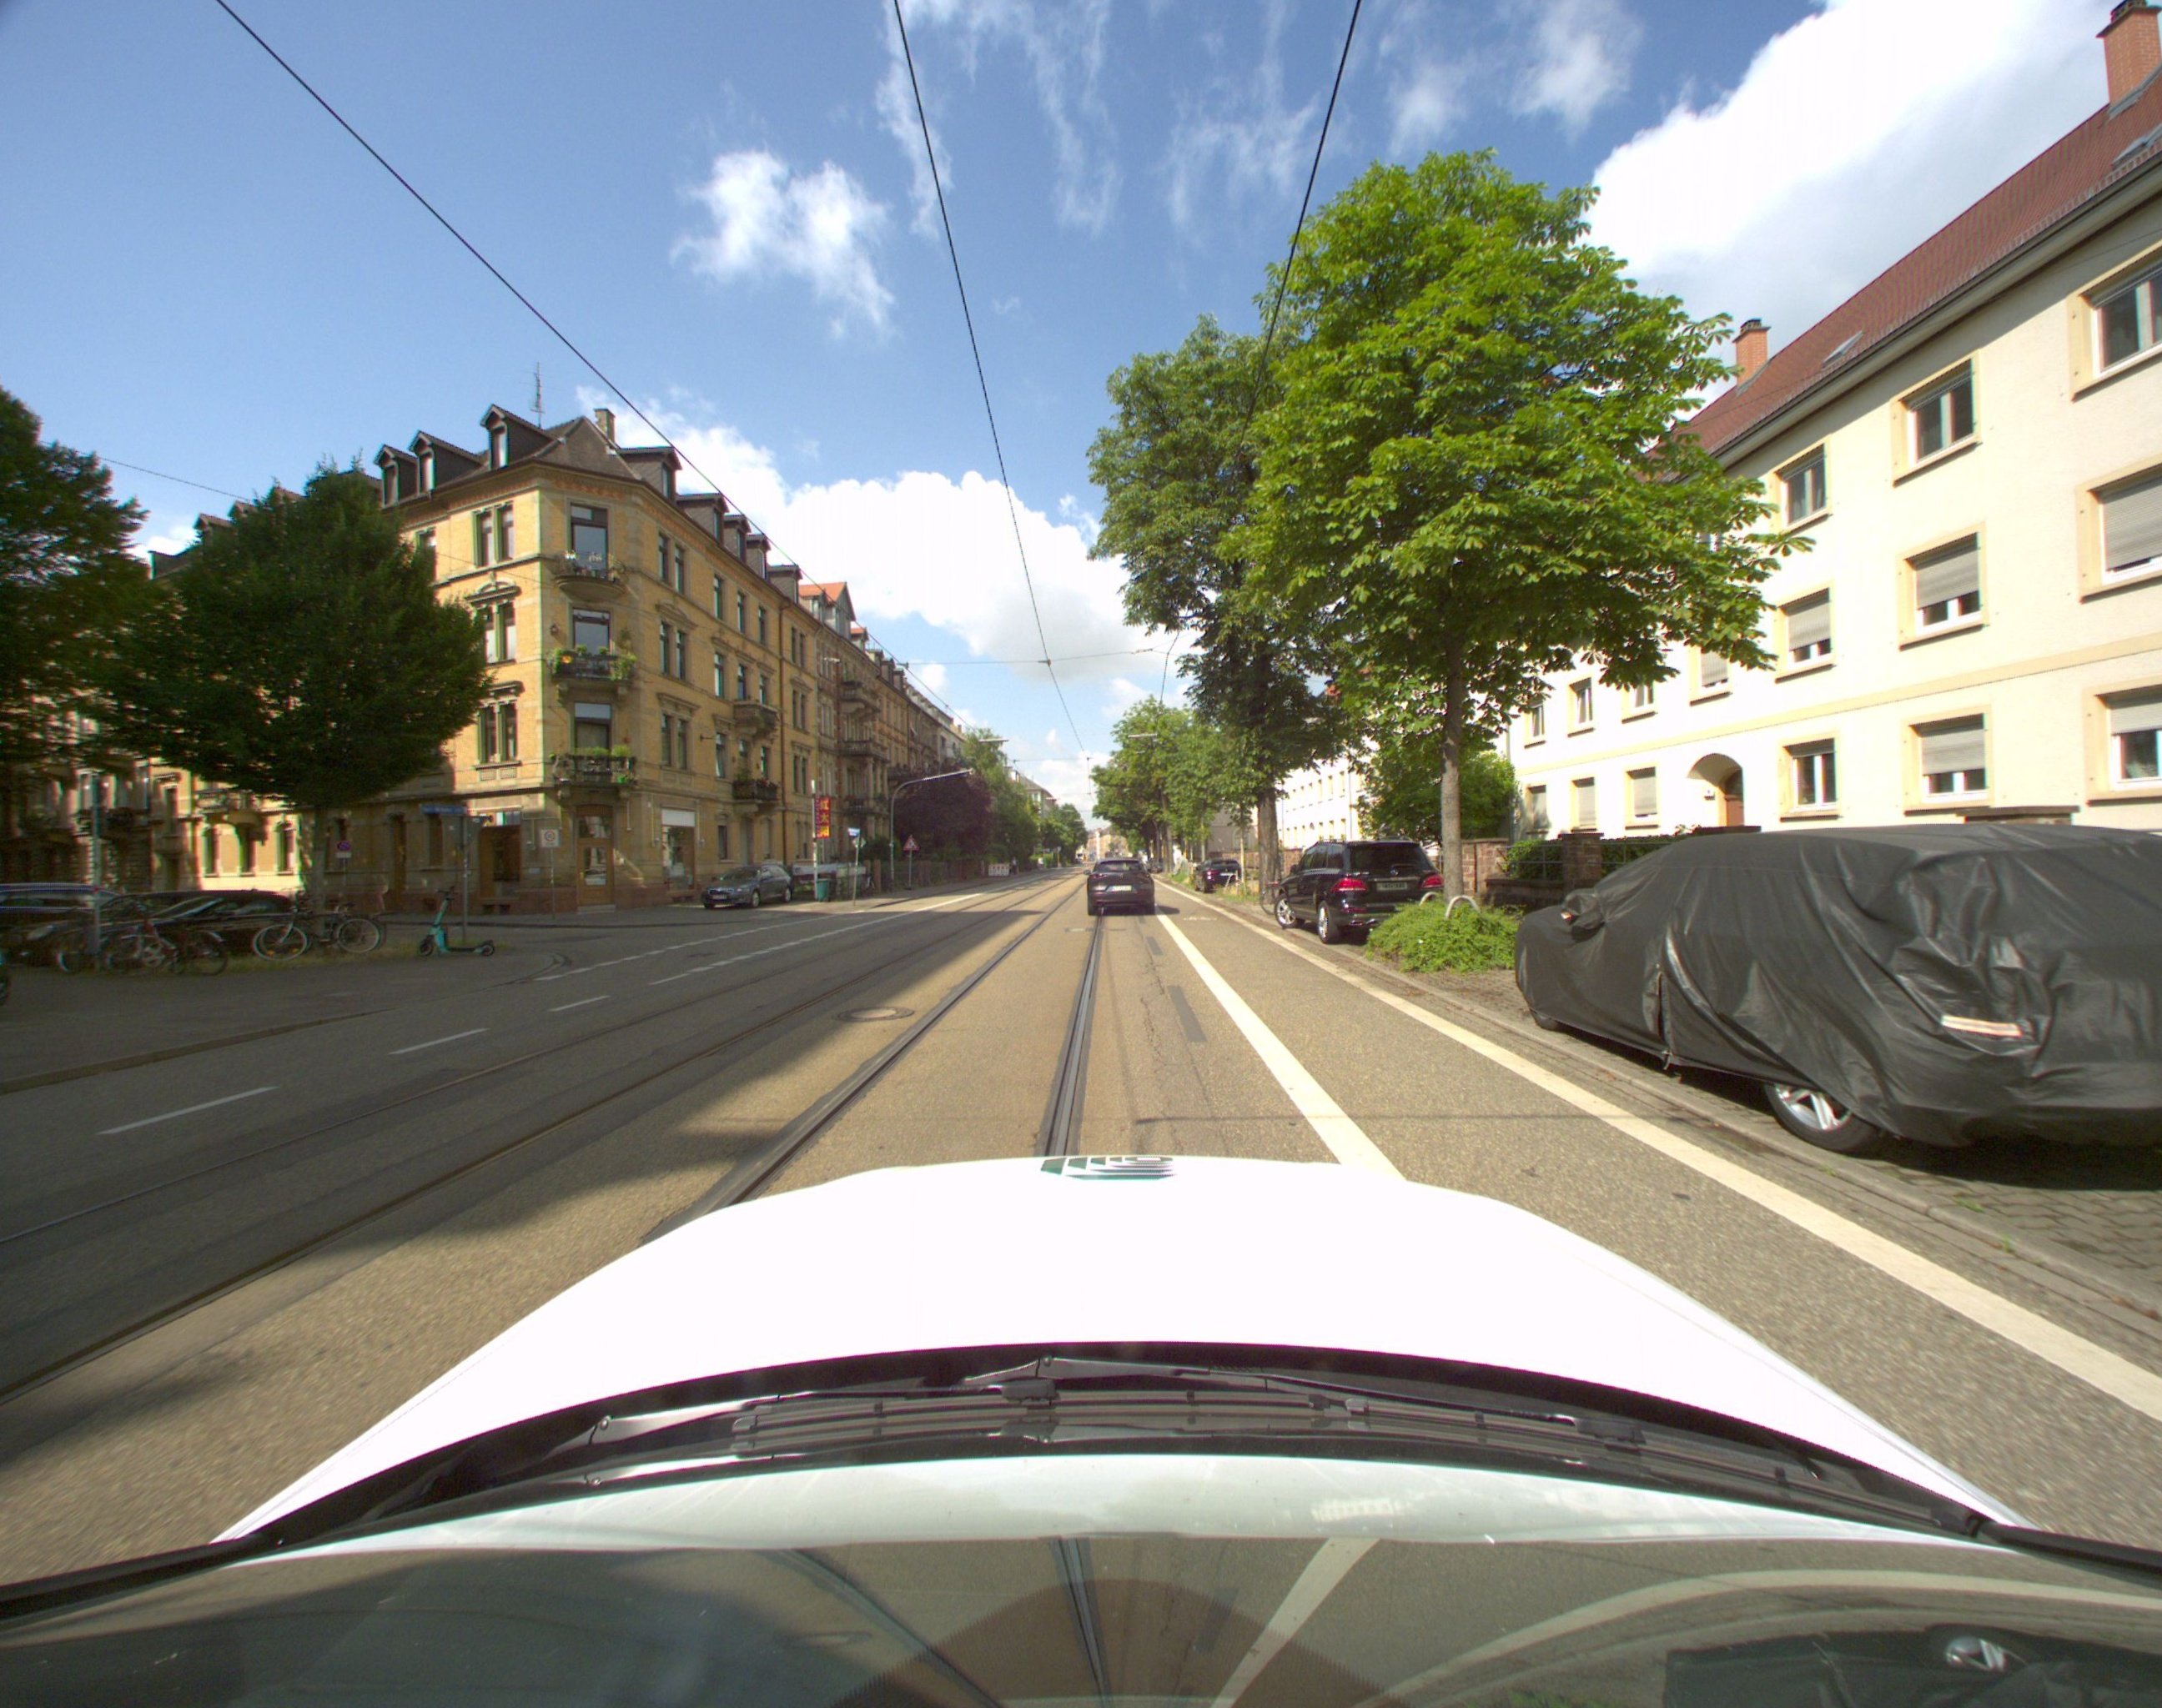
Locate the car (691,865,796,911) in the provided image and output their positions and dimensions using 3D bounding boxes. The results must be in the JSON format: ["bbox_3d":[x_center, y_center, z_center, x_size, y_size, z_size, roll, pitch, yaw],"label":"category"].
[{"bbox_3d":[-12.313,1.180,30.048,1.679,1.459,4.767,-2,0,2],"label":"car"}]

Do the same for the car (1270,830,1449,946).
[{"bbox_3d":[4.944,0.535,15.235,1.820,1.782,4.735,-2,0,2],"label":"car"}]

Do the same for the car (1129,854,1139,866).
[{"bbox_3d":[9.739,1.097,148.988,1.713,1.968,4.210,-2,0,3],"label":"car"}]

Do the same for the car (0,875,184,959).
[{"bbox_3d":[-23.664,1.410,18.557,1.600,1.721,4.023,-2,-1,24],"label":"car"}]

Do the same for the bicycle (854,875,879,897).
[{"bbox_3d":[-9.672,1.432,36.764,0.528,0.946,1.969,-2,0,2],"label":"bicycle"}]

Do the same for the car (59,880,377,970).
[{"bbox_3d":[-16.695,1.296,16.043,1.625,1.360,3.947,-2,0,21],"label":"car"}]

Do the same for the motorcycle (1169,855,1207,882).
[{"bbox_3d":[6.600,0.900,50.474,2.357,1.597,0.683,0,1,41],"label":"motorcycle"}]

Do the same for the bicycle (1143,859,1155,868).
[{"bbox_3d":[8.365,1.163,100.203,1.484,0.983,0.259,-2,-1,4],"label":"bicycle"}]

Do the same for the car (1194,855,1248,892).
[{"bbox_3d":[5.872,0.799,34.606,1.699,1.479,4.198,1,0,2],"label":"car"}]

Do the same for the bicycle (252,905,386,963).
[{"bbox_3d":[-13.591,1.404,14.592,0.519,0.837,1.705,-1,0,15],"label":"bicycle"}]

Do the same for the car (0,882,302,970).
[{"bbox_3d":[-19.089,1.400,16.944,1.624,1.415,3.810,-2,0,25],"label":"car"}]

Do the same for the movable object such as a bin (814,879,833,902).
[{"bbox_3d":[-10.271,1.452,32.505,0.523,0.906,0.636,-2,-1,0],"label":"movable object such as a bin"}]

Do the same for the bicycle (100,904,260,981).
[{"bbox_3d":[-13.911,1.350,12.600,1.750,1.063,0.524,-2,0,-4],"label":"bicycle"}]

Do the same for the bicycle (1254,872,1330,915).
[{"bbox_3d":[5.224,0.974,20.233,1.701,1.007,0.638,-2,0,2],"label":"bicycle"}]

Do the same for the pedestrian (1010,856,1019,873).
[{"bbox_3d":[-6.924,1.108,85.127,0.820,1.706,0.891,-2,-1,-1],"label":"pedestrian"}]

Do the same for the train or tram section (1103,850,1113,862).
[{"bbox_3d":[8.533,0.660,257.618,2.564,3.772,13.020,-1,0,-1],"label":"train or tram section"}]

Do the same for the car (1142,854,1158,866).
[{"bbox_3d":[11.131,0.938,132.336,1.783,1.938,4.984,-2,0,-4],"label":"car"}]

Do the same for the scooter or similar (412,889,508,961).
[{"bbox_3d":[-11.563,1.305,15.212,1.368,1.235,0.400,0,-1,-27],"label":"scooter or similar"}]

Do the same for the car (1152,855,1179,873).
[{"bbox_3d":[7.533,0.879,73.285,1.841,1.409,4.393,-3,-1,-1],"label":"car"}]

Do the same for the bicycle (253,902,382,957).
[{"bbox_3d":[-14.109,1.370,15.107,0.519,0.837,1.705,-1,0,15],"label":"bicycle"}]

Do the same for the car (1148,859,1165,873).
[{"bbox_3d":[8.387,1.371,91.111,1.659,1.430,3.768,-4,-1,3],"label":"car"}]

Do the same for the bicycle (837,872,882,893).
[{"bbox_3d":[-10.580,1.359,38.968,1.957,0.946,0.531,-2,-1,-3],"label":"bicycle"}]

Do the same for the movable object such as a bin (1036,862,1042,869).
[{"bbox_3d":[-6.239,1.725,121.291,0.742,0.988,1.114,1,-1,2],"label":"movable object such as a bin"}]

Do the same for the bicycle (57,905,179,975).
[{"bbox_3d":[-15.677,1.394,13.258,1.681,1.063,0.526,-1,0,12],"label":"bicycle"}]

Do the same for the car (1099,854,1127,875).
[{"bbox_3d":[2.350,0.756,60.292,1.986,1.529,4.002,1,0,2],"label":"car"}]

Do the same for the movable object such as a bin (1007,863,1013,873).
[{"bbox_3d":[-8.214,1.618,94.519,0.535,1.094,0.791,-2,-1,7],"label":"movable object such as a bin"}]

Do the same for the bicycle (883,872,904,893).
[{"bbox_3d":[-9.444,1.421,41.049,0.528,0.946,1.969,-2,0,2],"label":"bicycle"}]

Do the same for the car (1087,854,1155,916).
[{"bbox_3d":[1.080,0.805,22.536,1.714,1.526,3.591,-2,0,2],"label":"car"}]

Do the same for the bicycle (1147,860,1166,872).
[{"bbox_3d":[8.006,1.285,86.082,1.923,1.176,0.515,-3,-1,13],"label":"bicycle"}]

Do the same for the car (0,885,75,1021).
[{"bbox_3d":[-13.145,1.082,8.390,3.585,1.403,1.790,-1,0,6],"label":"car"}]

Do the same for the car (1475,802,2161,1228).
[{"bbox_3d":[4.670,0.622,5.504,1.855,1.653,4.639,-1,0,2],"label":"car"}]
